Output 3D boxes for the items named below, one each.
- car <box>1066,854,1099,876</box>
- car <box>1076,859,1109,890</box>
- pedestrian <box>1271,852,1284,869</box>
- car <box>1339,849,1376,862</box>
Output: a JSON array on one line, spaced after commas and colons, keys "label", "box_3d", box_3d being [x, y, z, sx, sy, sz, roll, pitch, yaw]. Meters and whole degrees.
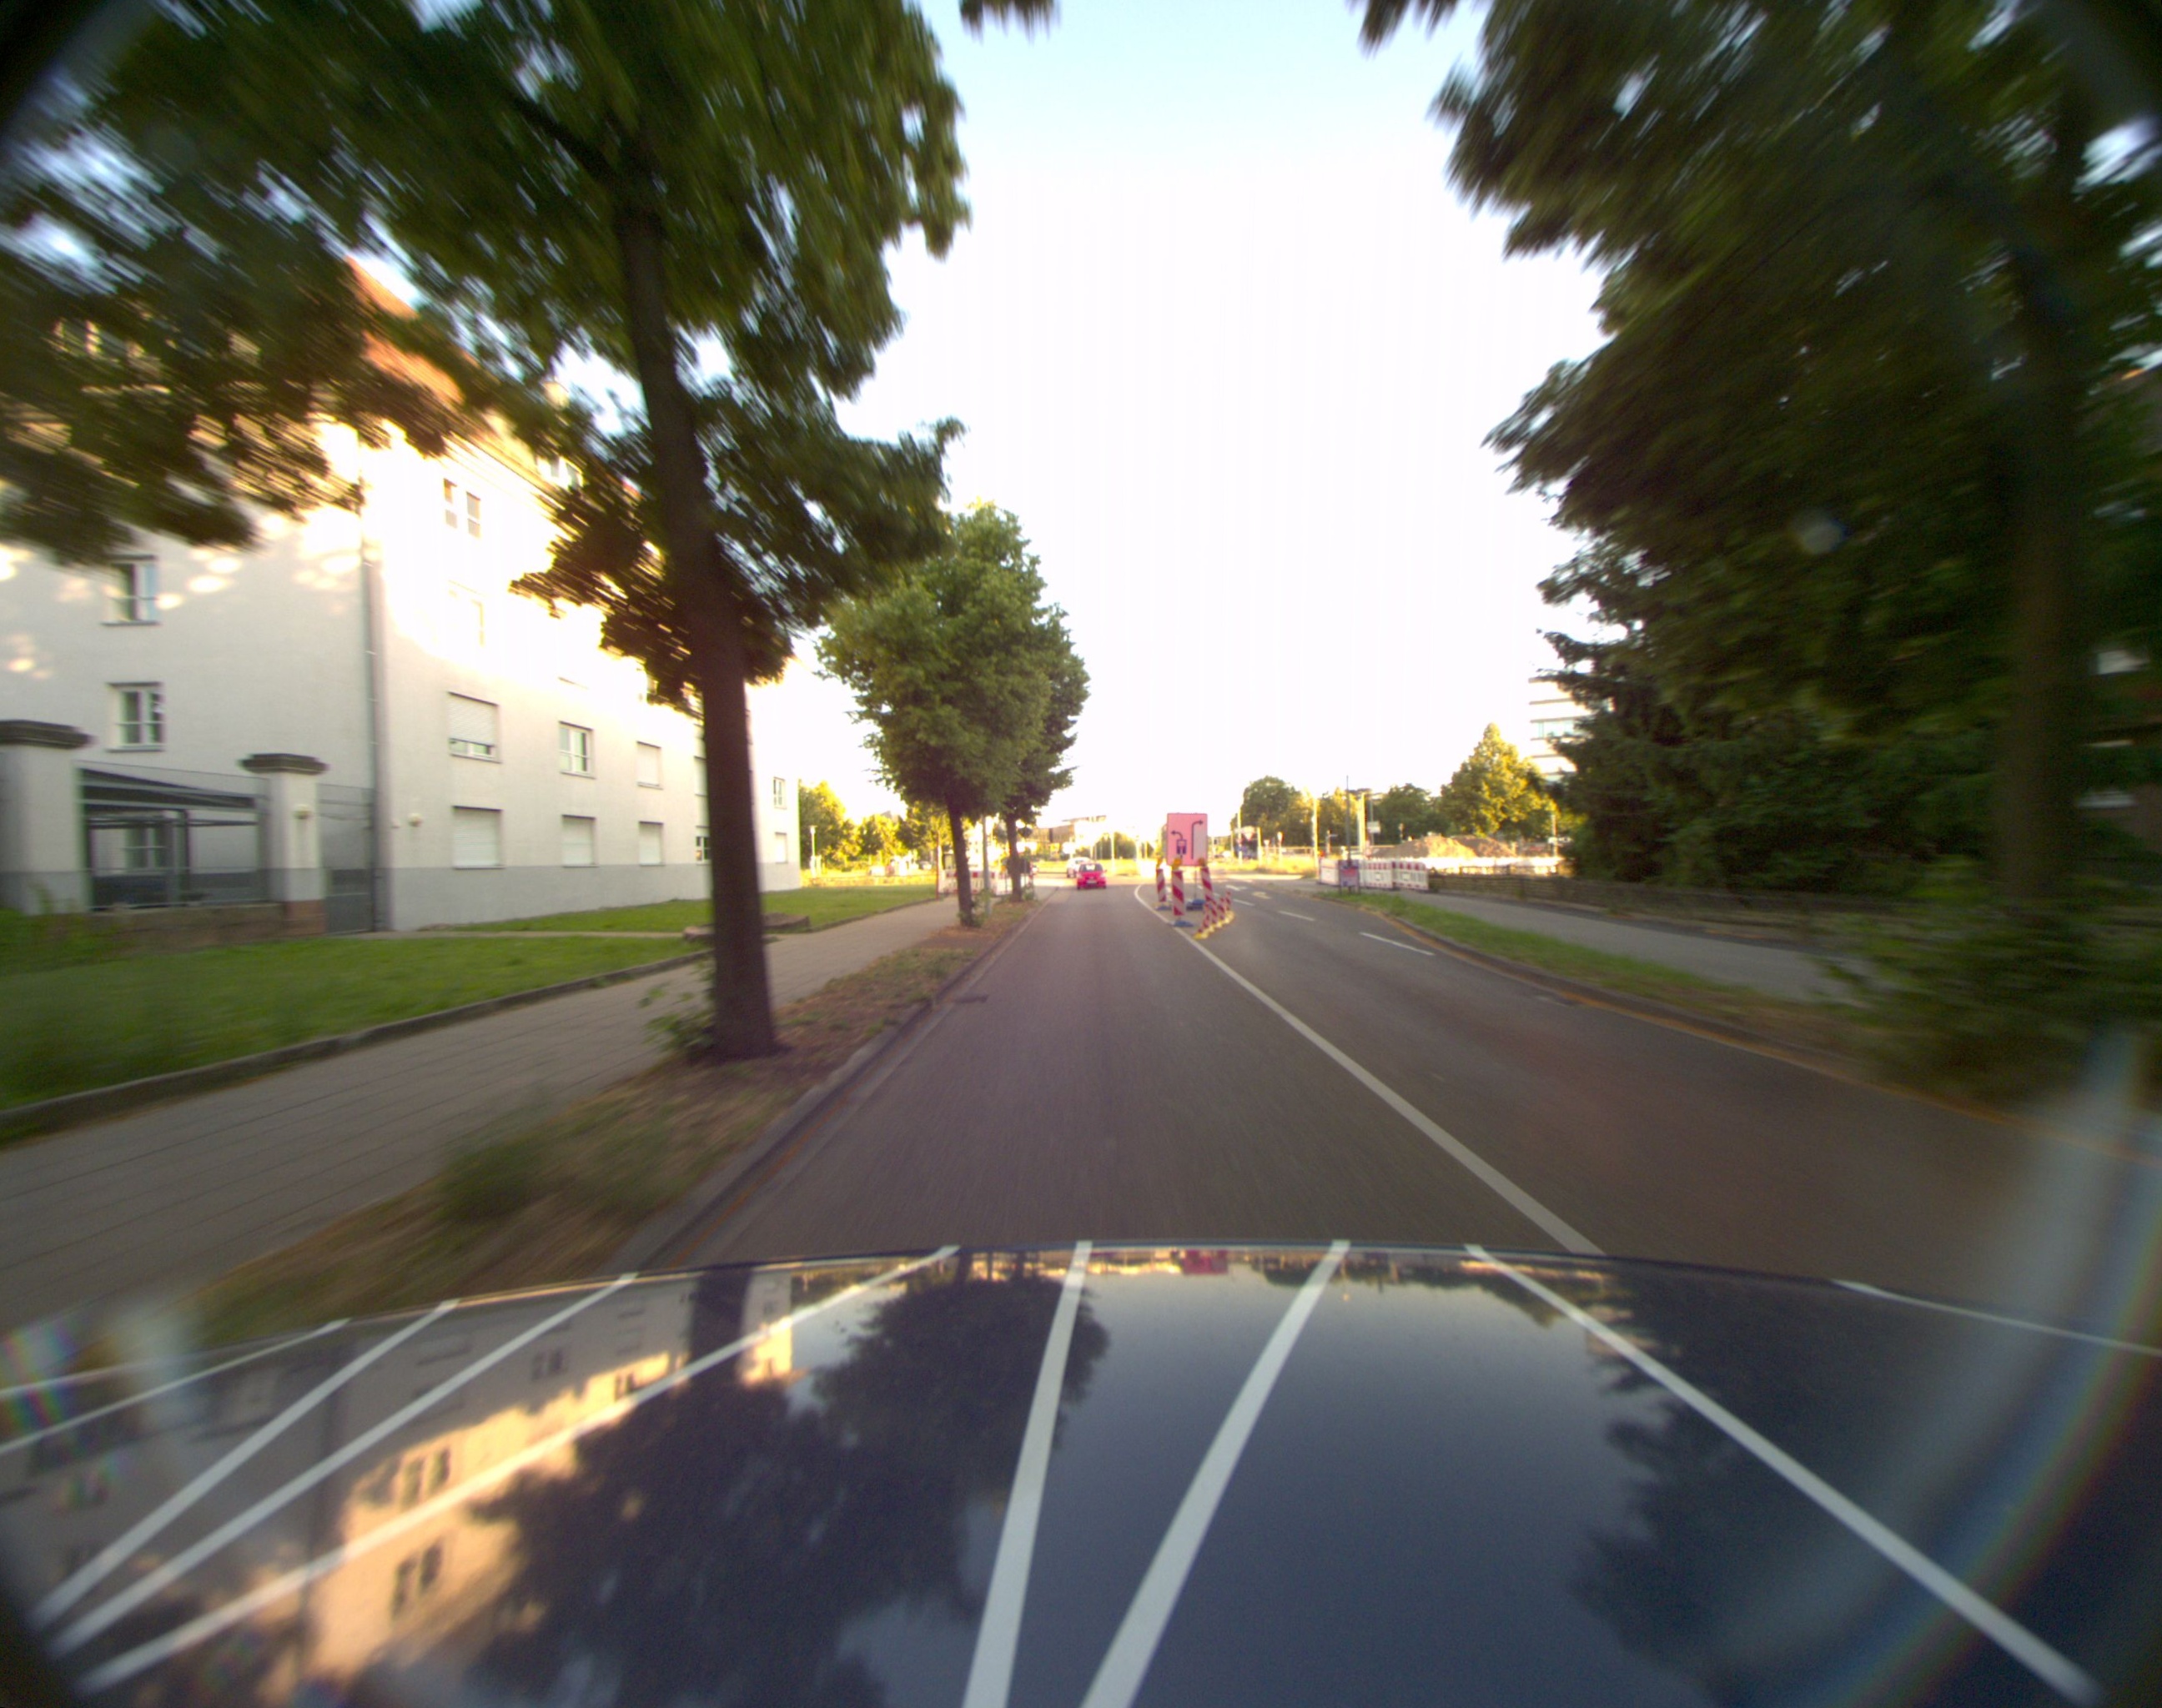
[{"label": "car", "box_3d": [0.093, 0.840, 61.231, 1.791, 1.548, 4.405, -2, 1, -11]}, {"label": "car", "box_3d": [0.579, 1.073, 41.423, 1.619, 1.405, 4.409, -2, 1, -1]}, {"label": "pedestrian", "box_3d": [18.855, 0.635, 72.978, 0.927, 1.685, 0.786, 0, 1, -11]}, {"label": "car", "box_3d": [34.063, 0.214, 93.649, 3.999, 1.455, 1.630, -2, 1, -7]}]
